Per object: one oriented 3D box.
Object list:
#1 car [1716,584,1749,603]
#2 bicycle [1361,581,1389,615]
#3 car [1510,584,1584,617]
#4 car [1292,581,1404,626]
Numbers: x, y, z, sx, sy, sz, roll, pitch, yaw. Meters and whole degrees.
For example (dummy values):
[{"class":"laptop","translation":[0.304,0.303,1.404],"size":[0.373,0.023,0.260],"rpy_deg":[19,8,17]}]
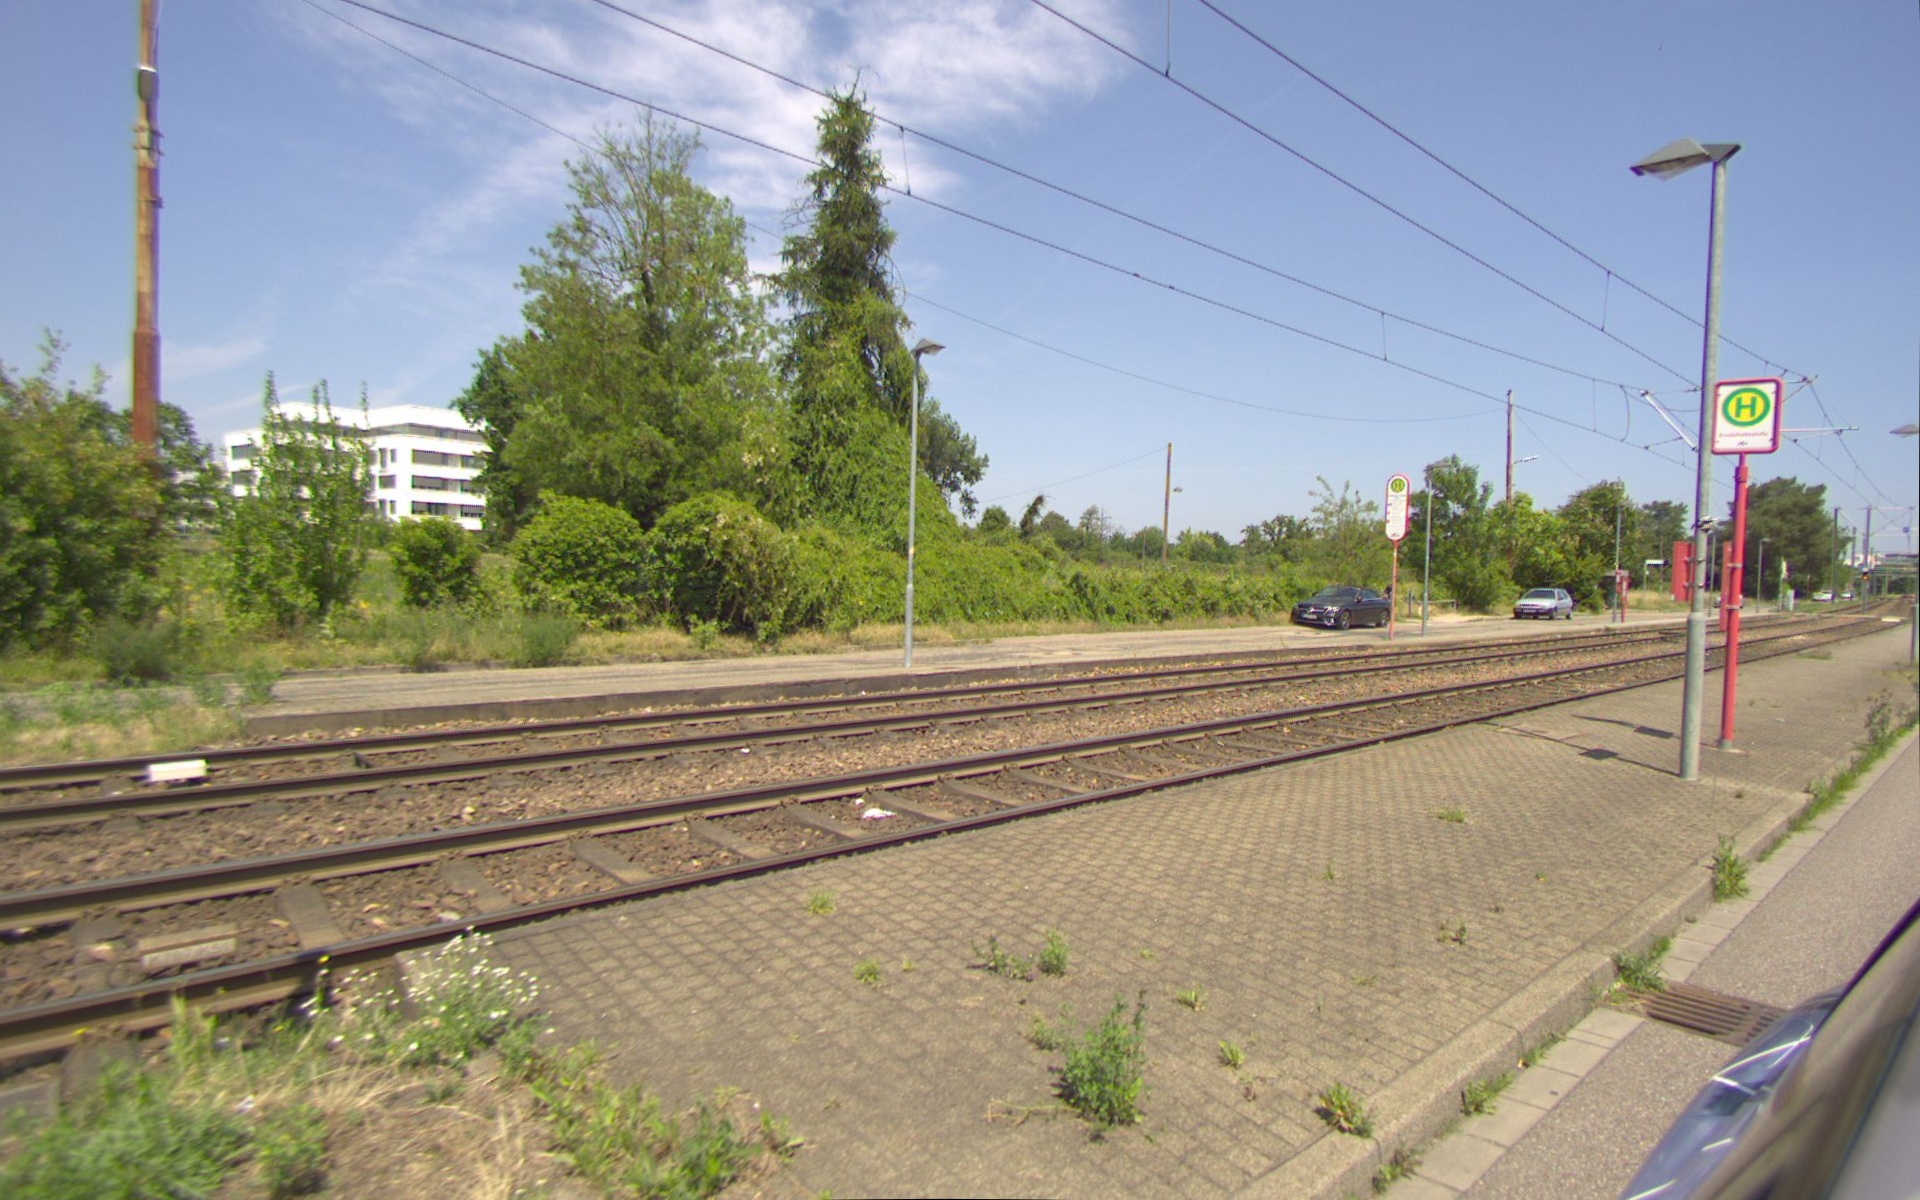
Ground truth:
[{"class":"car","translation":[65.335,-0.583,85.552],"size":[3.936,1.507,1.714],"rpy_deg":[-1,2,-45]},{"class":"bicycle","translation":[16.655,-0.086,40.636],"size":[0.693,1.284,1.675],"rpy_deg":[2,2,12]},{"class":"car","translation":[26.994,-0.028,46.485],"size":[3.934,1.440,1.941],"rpy_deg":[-1,2,-44]},{"class":"car","translation":[13.226,0.073,34.323],"size":[4.791,1.440,1.622],"rpy_deg":[-1,2,-43]}]
